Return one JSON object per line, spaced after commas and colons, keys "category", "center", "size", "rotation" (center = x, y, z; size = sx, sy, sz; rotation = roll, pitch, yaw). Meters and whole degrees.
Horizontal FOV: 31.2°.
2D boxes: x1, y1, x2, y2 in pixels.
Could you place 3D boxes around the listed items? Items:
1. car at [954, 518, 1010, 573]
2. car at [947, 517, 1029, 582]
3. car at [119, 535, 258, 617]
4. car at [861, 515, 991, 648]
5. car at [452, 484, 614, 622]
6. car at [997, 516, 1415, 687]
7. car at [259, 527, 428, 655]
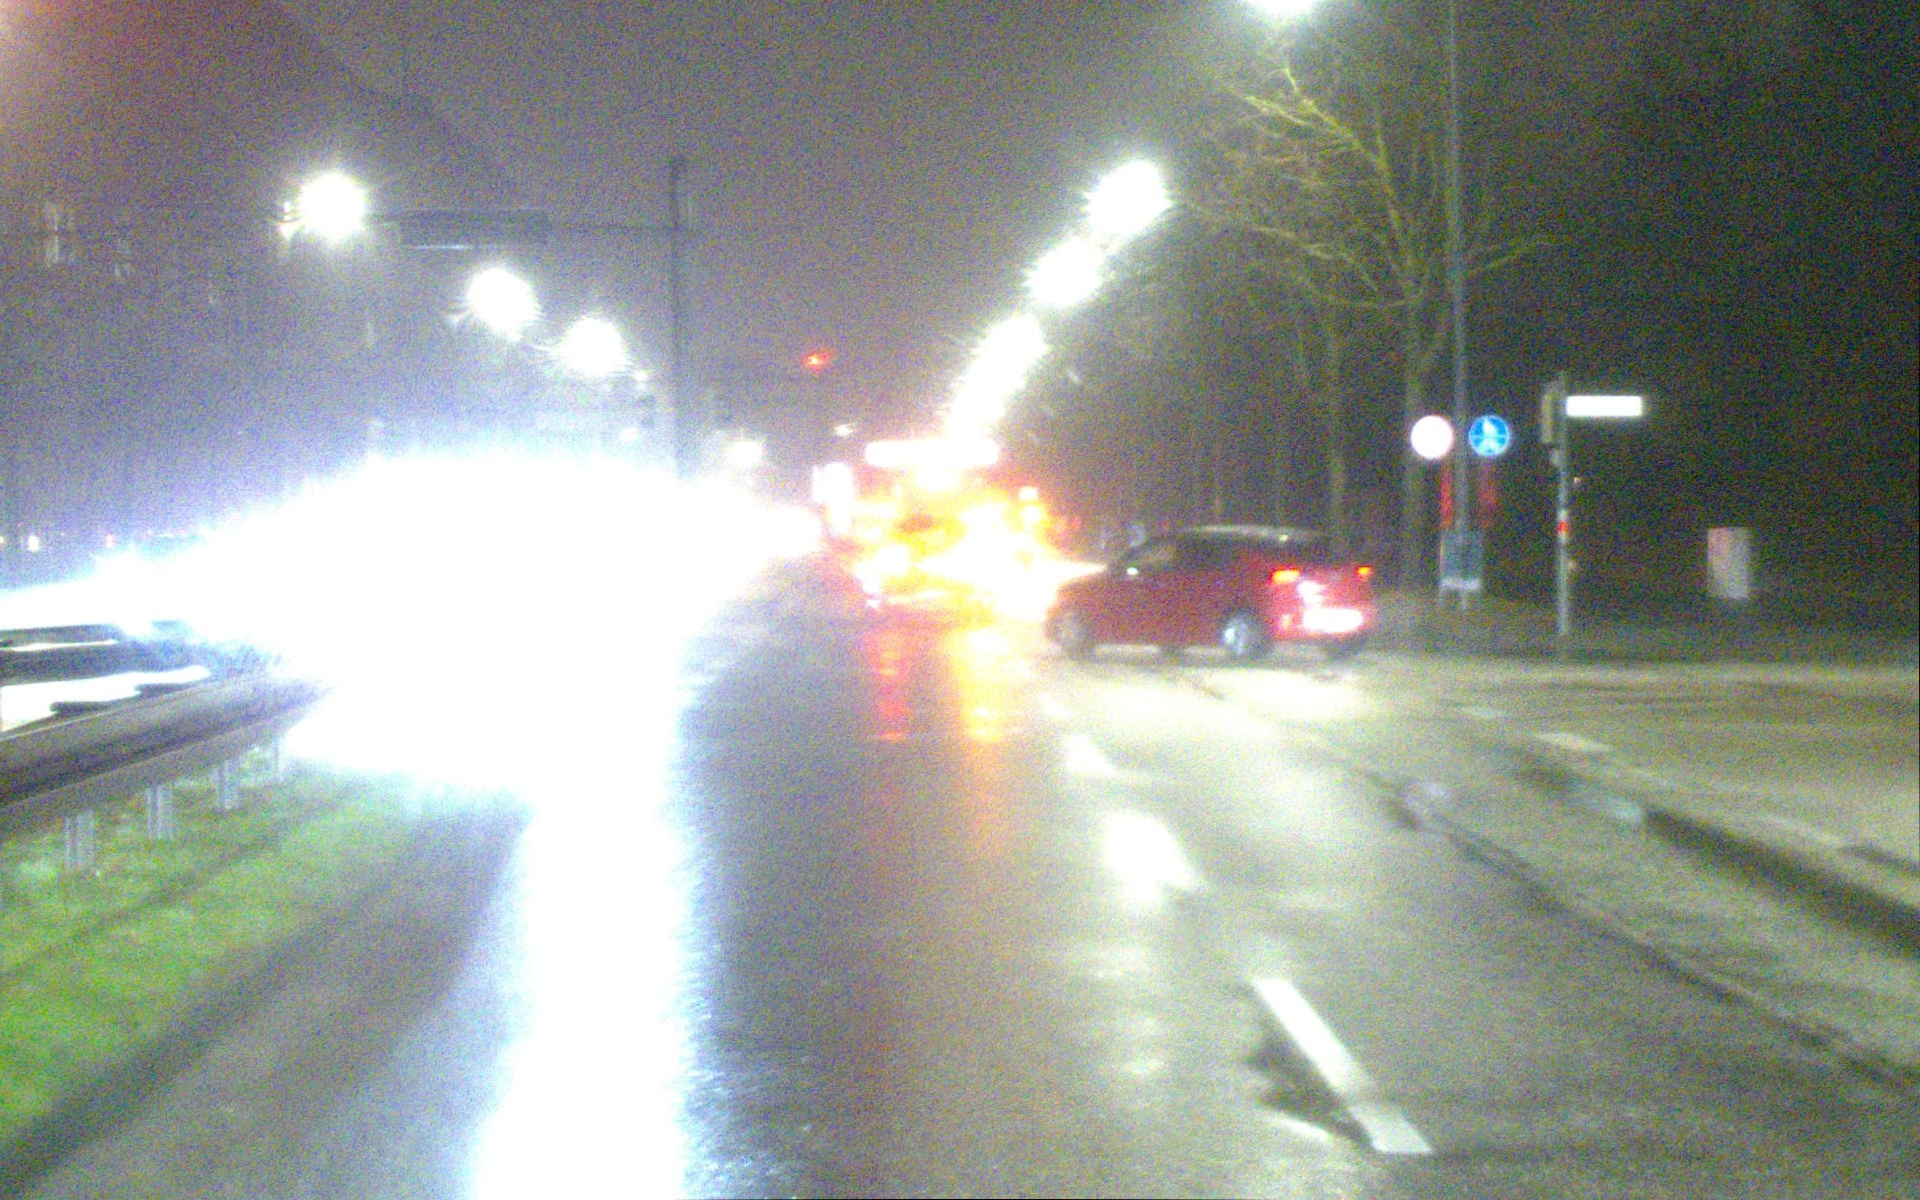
{"category": "car", "center": [0.892, -2.202, 140.550], "size": [2.208, 2.207, 3.643], "rotation": [0, 0, 0]}
{"category": "car", "center": [0.768, -1.396, 95.892], "size": [1.902, 1.774, 4.001], "rotation": [0, 0, -5]}
{"category": "car", "center": [-15.412, -0.480, 68.862], "size": [1.847, 1.585, 4.353], "rotation": [0, 0, -1]}
{"category": "car", "center": [-0.514, -0.266, 49.325], "size": [1.681, 1.831, 3.429], "rotation": [0, 0, -4]}
{"category": "car", "center": [-6.501, -0.715, 52.704], "size": [1.993, 2.007, 4.000], "rotation": [-1, 1, -1]}
{"category": "car", "center": [2.628, -0.006, 37.437], "size": [1.979, 1.749, 4.350], "rotation": [0, 0, -43]}
{"category": "car", "center": [-9.107, -0.152, 51.063], "size": [1.783, 1.809, 4.000], "rotation": [-1, 1, 0]}
